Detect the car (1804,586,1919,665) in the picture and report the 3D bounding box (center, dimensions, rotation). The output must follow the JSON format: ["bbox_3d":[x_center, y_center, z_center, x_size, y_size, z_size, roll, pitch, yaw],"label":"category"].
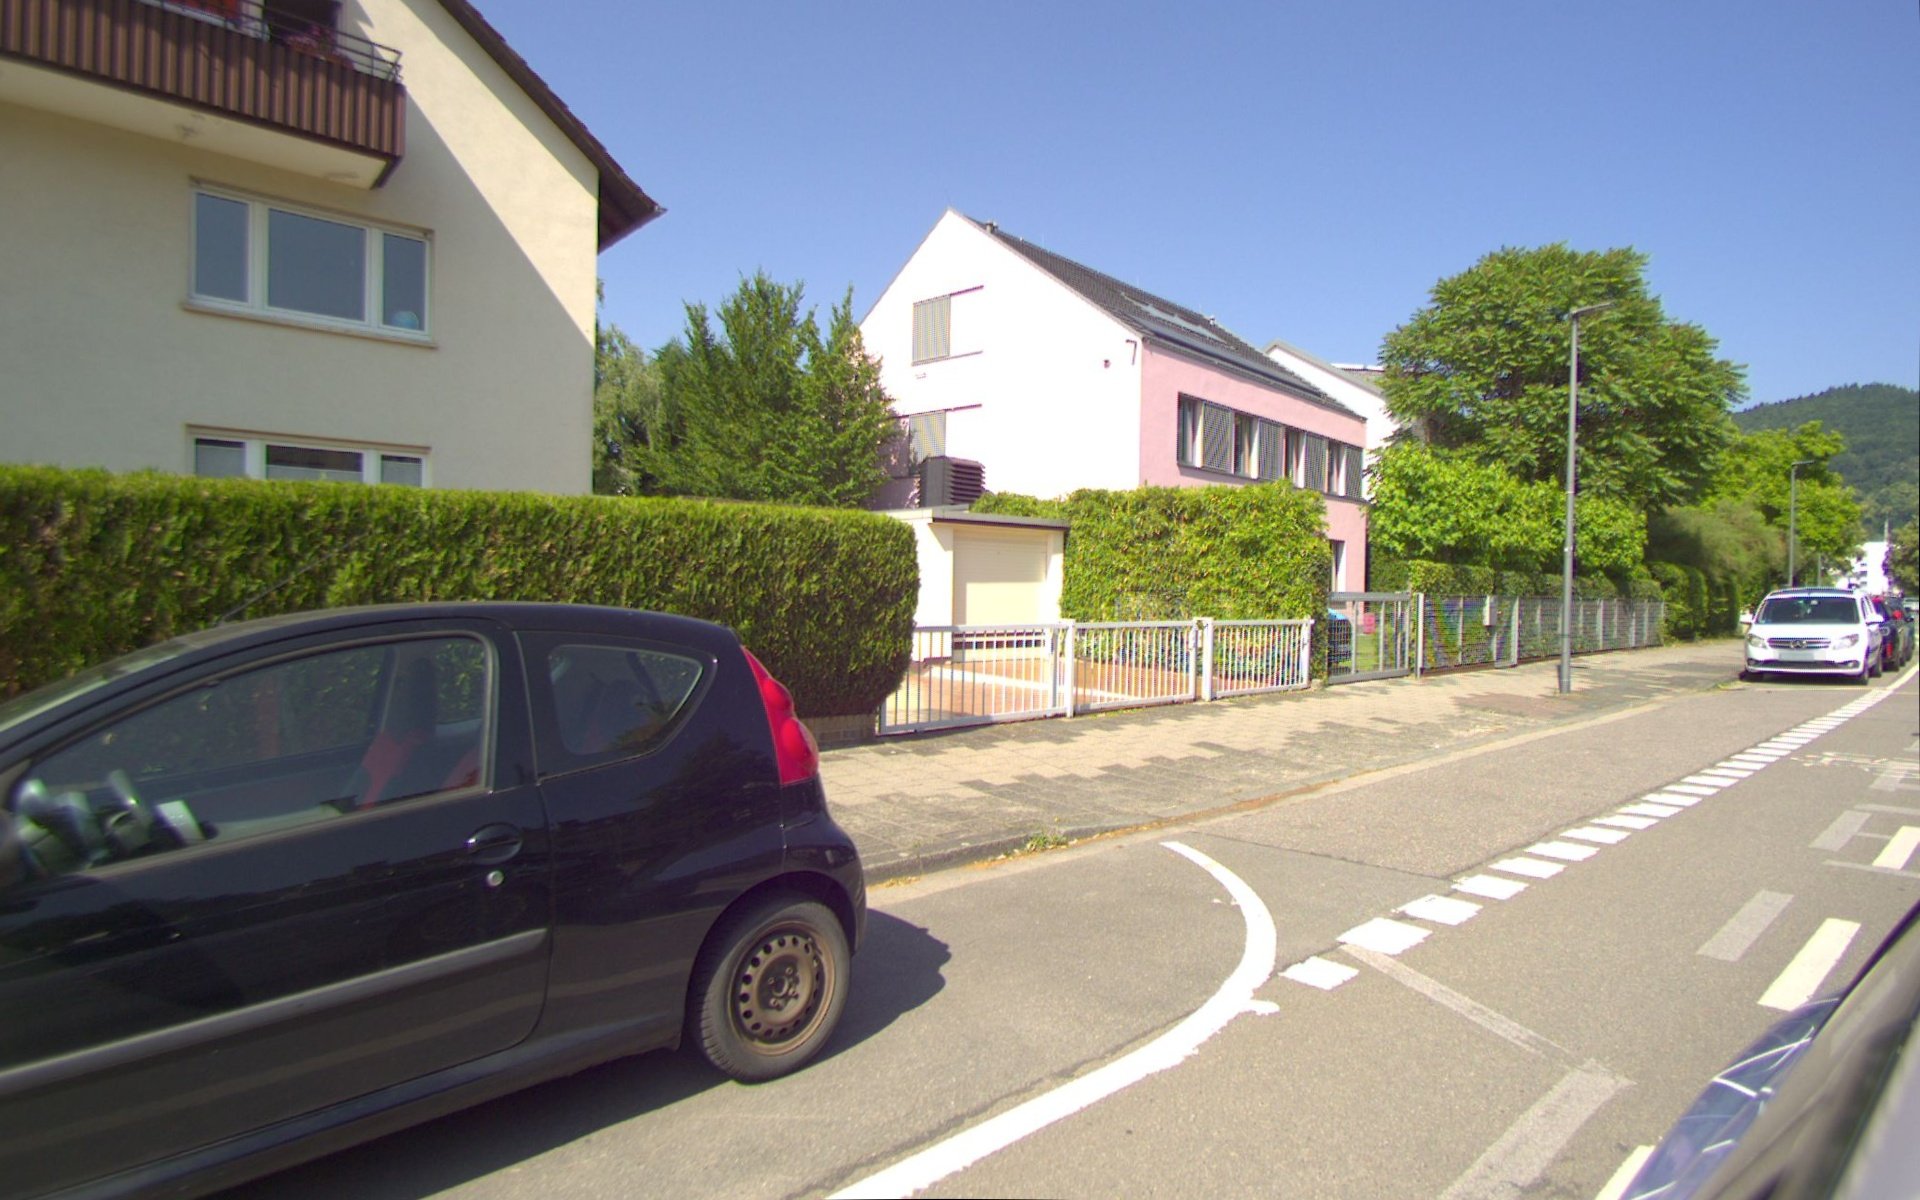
[{"bbox_3d":[20.643,0.531,23.036,4.242,1.613,1.764,1,1,-44],"label":"car"}]

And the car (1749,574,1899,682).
[{"bbox_3d":[16.765,0.452,19.556,4.523,1.850,1.763,-1,0,-44],"label":"car"}]

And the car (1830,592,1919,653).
[{"bbox_3d":[24.521,0.565,27.081,1.761,1.461,4.006,3,2,42],"label":"car"}]

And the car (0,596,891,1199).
[{"bbox_3d":[-2.219,0.710,2.580,3.931,1.407,1.619,-1,0,-42],"label":"car"}]

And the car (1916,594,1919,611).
[{"bbox_3d":[102.236,0.302,106.478,1.997,1.836,4.697,3,1,39],"label":"car"}]

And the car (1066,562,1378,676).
[{"bbox_3d":[4.443,0.241,17.854,1.946,1.727,5.091,0,1,-43],"label":"car"}]

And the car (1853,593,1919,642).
[{"bbox_3d":[30.370,0.571,32.831,1.812,1.482,4.710,-2,-2,45],"label":"car"}]
